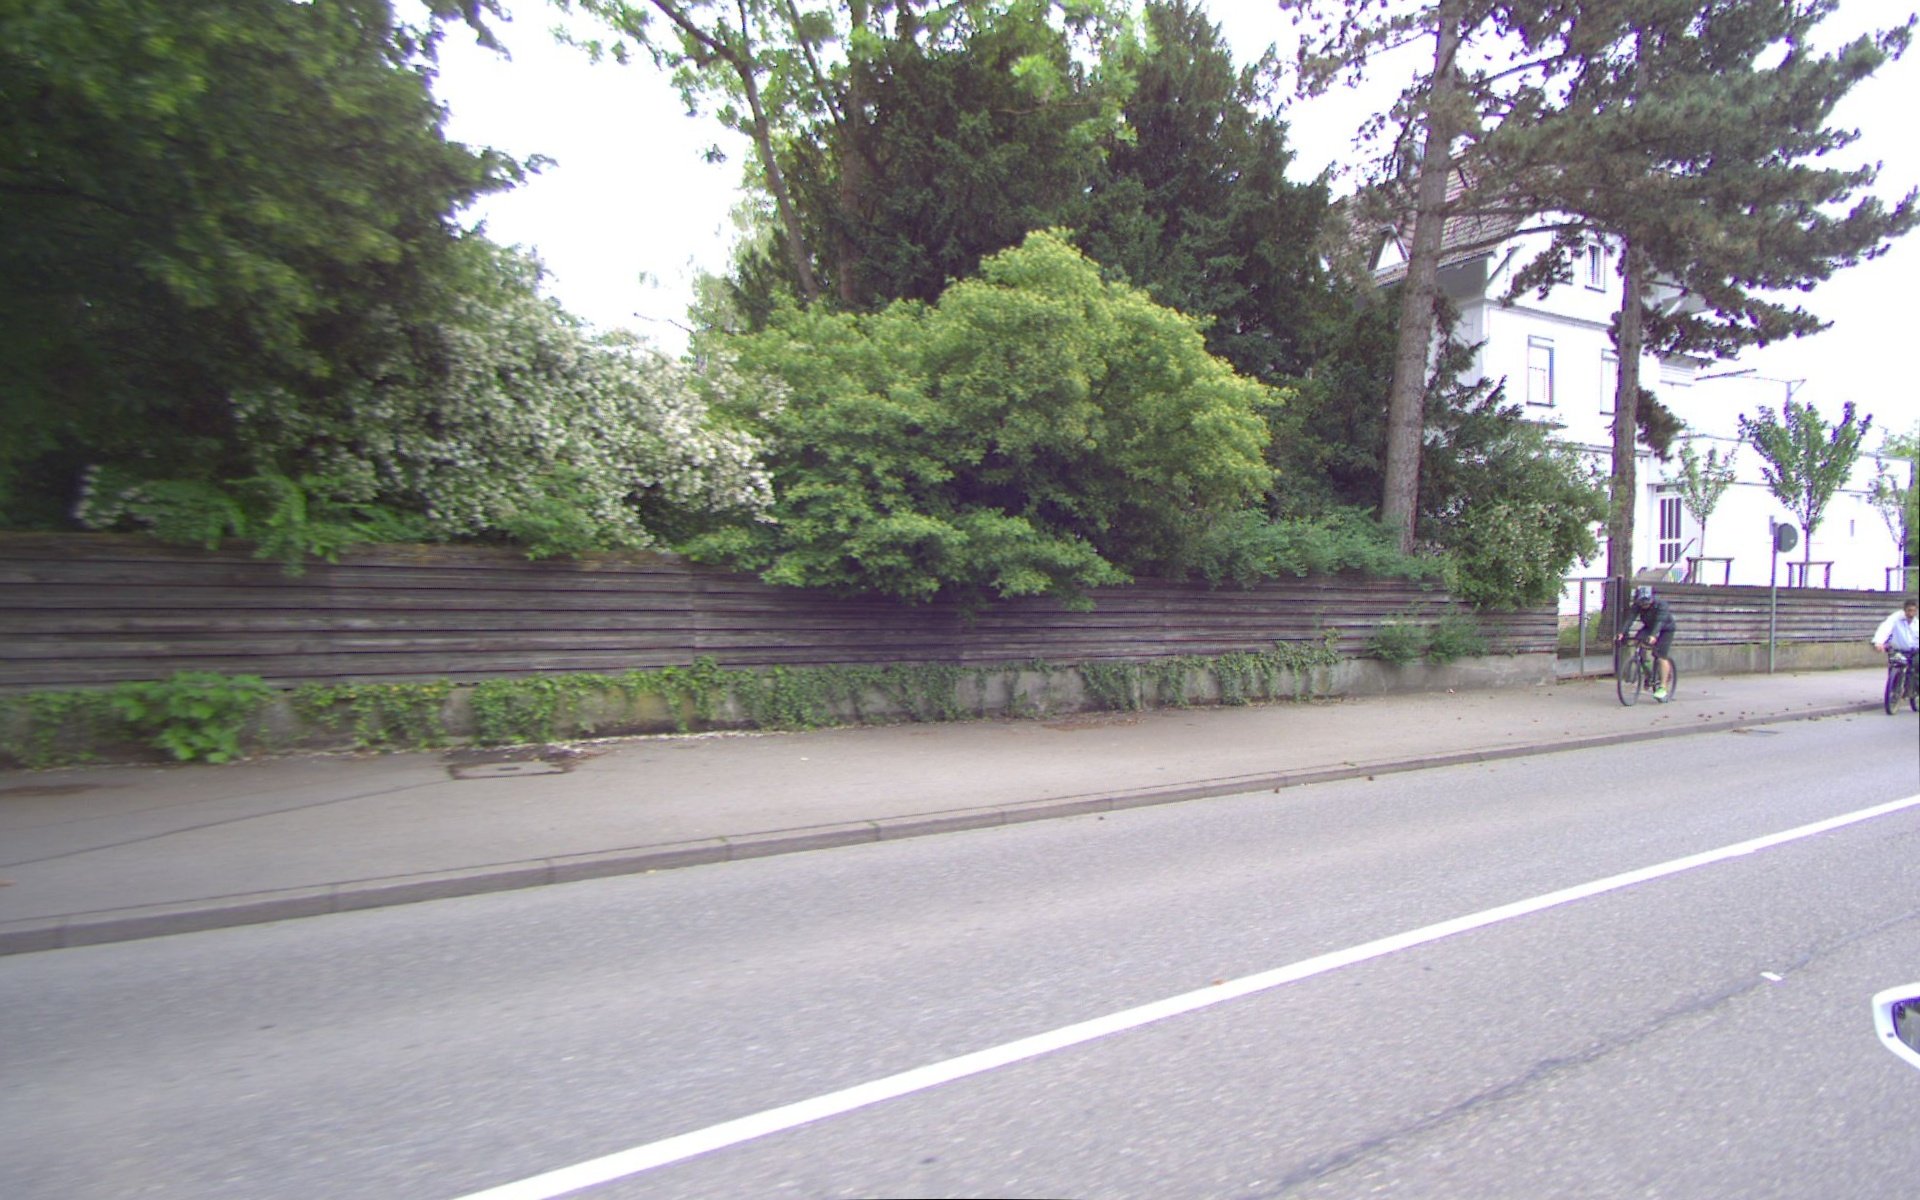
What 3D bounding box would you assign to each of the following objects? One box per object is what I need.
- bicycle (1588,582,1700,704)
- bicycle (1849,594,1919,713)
[{"bbox_3d":[10.112,0.611,14.836,1.958,1.699,0.558,1,2,-32],"label":"bicycle"},{"bbox_3d":[14.836,0.808,15.807,1.850,1.767,0.755,1,0,-32],"label":"bicycle"}]
